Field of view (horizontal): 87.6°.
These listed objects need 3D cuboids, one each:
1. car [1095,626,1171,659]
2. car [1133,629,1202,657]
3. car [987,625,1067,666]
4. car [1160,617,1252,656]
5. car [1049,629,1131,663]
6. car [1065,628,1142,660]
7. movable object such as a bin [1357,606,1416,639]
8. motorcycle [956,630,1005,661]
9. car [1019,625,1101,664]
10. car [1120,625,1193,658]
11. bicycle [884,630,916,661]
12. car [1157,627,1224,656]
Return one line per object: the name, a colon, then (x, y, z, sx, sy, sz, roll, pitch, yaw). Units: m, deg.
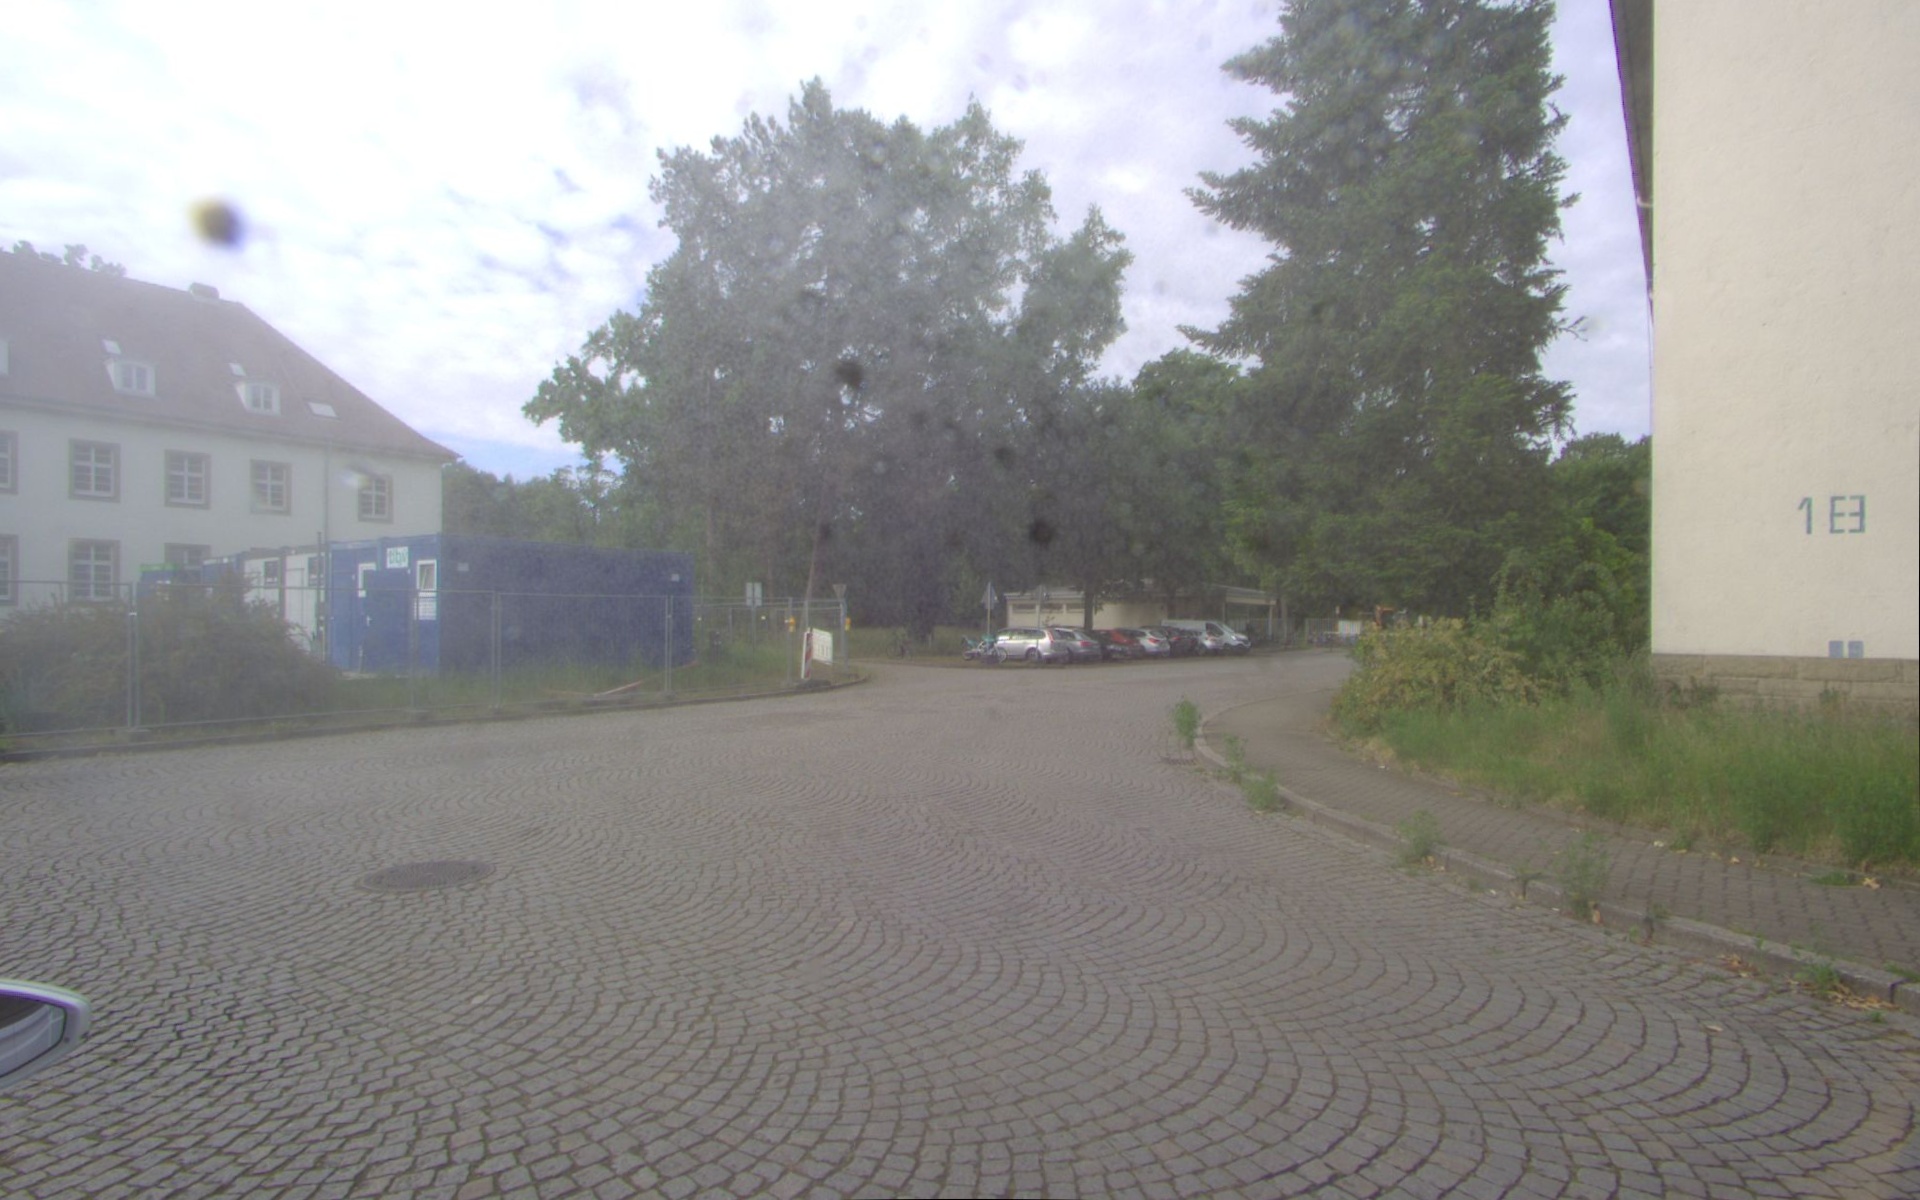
car: (8.461, 2.051, 49.070, 3.314, 1.462, 1.559, 2, 0, 29)
car: (11.119, 2.279, 53.652, 3.317, 1.336, 1.467, 2, 0, 32)
car: (2.750, 1.828, 41.056, 2.978, 1.508, 1.318, 2, 0, 28)
car: (14.186, 2.073, 57.897, 4.892, 2.017, 1.687, 2, 0, 37)
car: (5.851, 2.036, 45.087, 3.313, 1.338, 1.635, 2, 0, 28)
car: (6.819, 2.078, 47.760, 3.320, 1.379, 1.439, 2, 0, 36)
movable object such as a bin: (42.912, 2.248, 100.872, 5.217, 3.315, 1.999, 0, -1, 12)
motorcycle: (0.811, 1.784, 39.512, 1.936, 1.180, 0.516, 0, -1, 31)
car: (4.272, 1.885, 42.795, 3.171, 1.466, 1.384, 2, 0, 28)
car: (10.098, 2.106, 51.504, 3.317, 1.533, 1.558, 2, 0, 32)
bicycle: (-2.307, 1.733, 38.350, 0.507, 1.182, 1.795, 0, -1, -30)
car: (12.786, 2.296, 55.588, 3.317, 1.425, 1.558, 2, 0, 32)
